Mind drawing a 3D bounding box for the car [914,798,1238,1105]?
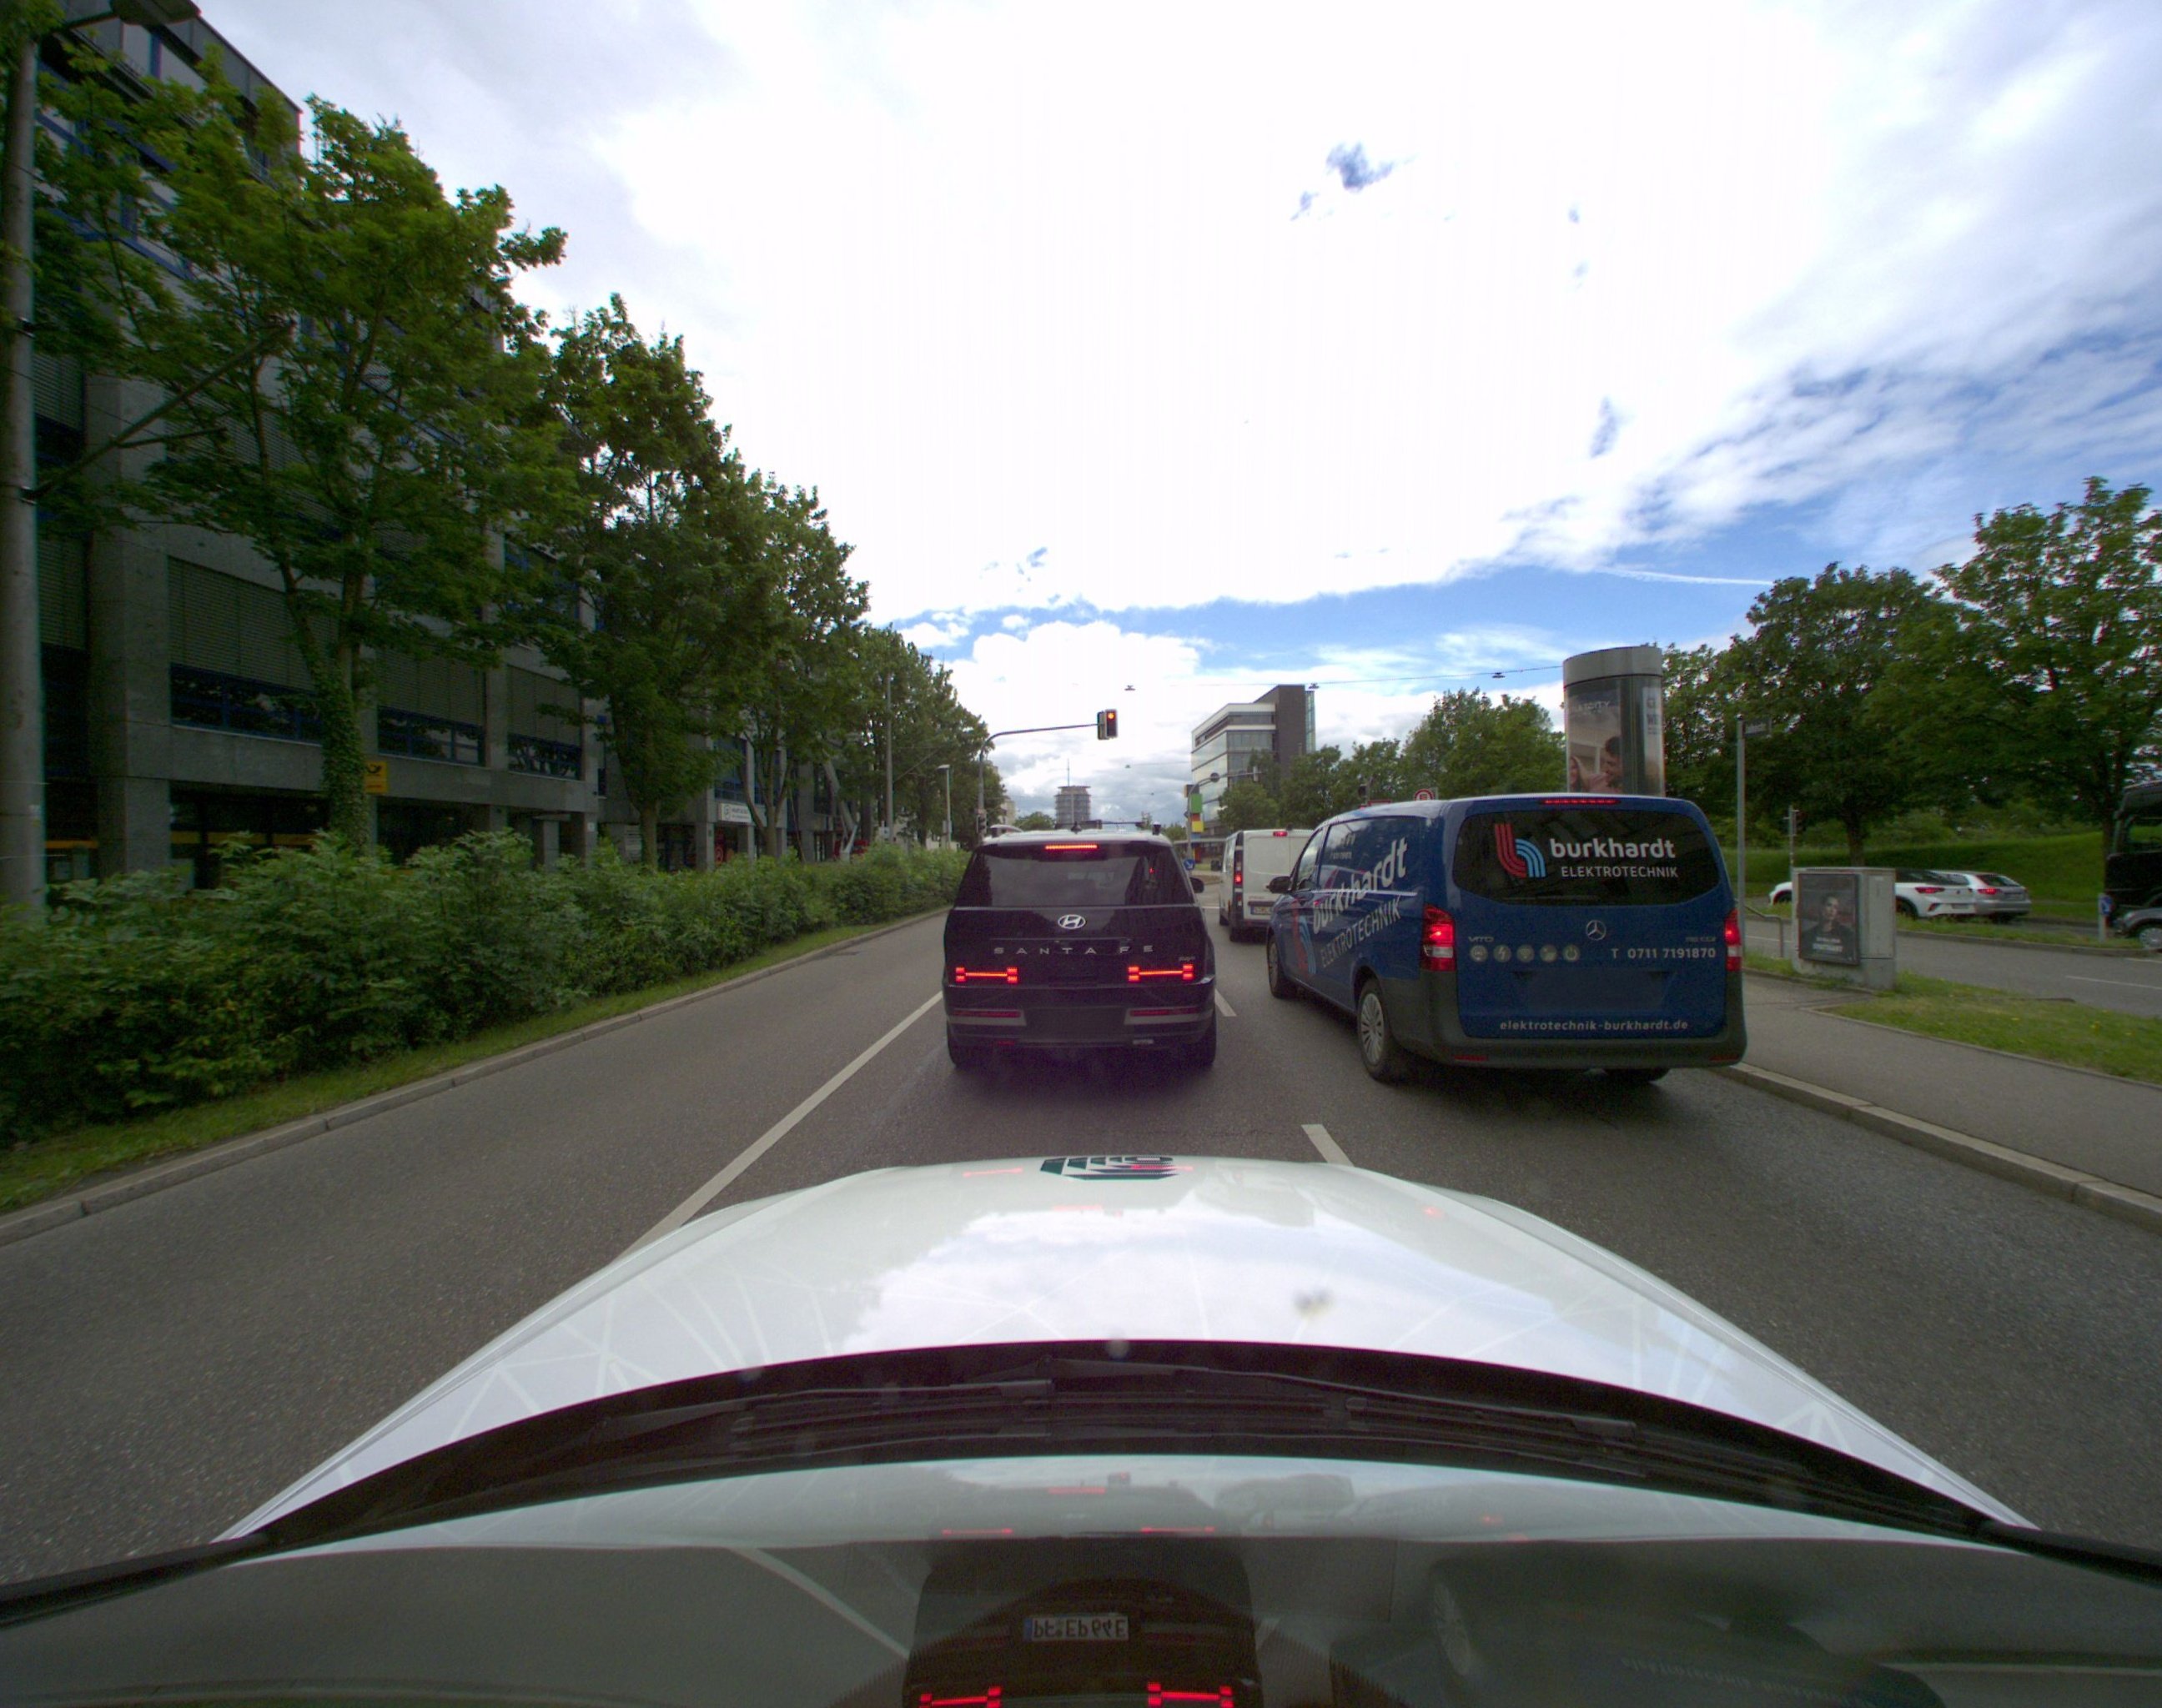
[{"bbox_3d":[0.032,0.575,6.733,1.862,1.760,3.881,-1,0,2],"label":"car"}]

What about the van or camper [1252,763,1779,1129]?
[{"bbox_3d":[2.843,0.496,6.864,1.853,1.911,5.034,-1,0,2],"label":"van or camper"}]

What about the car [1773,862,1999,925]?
[{"bbox_3d":[21.769,1.013,22.275,1.994,1.453,3.985,1,0,-11],"label":"car"}]

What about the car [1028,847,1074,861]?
[{"bbox_3d":[-3.487,0.029,94.783,5.271,1.596,1.997,-1,-1,-4],"label":"car"}]

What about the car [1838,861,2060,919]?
[{"bbox_3d":[25.102,0.994,23.773,1.994,1.453,3.985,1,0,-11],"label":"car"}]

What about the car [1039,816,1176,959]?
[{"bbox_3d":[0.439,0.484,13.591,1.908,2.003,3.881,-1,0,2],"label":"car"}]

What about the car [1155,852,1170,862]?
[{"bbox_3d":[13.169,0.499,131.711,1.987,1.684,3.998,-1,-1,-1],"label":"car"}]

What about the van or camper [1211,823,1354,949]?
[{"bbox_3d":[3.618,0.522,15.497,1.984,2.013,4.660,-1,0,6],"label":"van or camper"}]

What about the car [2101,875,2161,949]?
[{"bbox_3d":[23.008,1.216,15.524,1.994,1.453,3.985,1,0,-11],"label":"car"}]

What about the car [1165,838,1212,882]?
[{"bbox_3d":[5.265,0.306,40.465,1.985,2.014,4.003,-1,-1,3],"label":"car"}]

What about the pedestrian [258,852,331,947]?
[{"bbox_3d":[-16.034,0.913,16.617,0.771,1.894,0.731,-1,-1,1],"label":"pedestrian"}]

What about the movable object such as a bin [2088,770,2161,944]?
[{"bbox_3d":[26.263,0.007,15.505,2.860,3.903,8.536,-1,-1,-11],"label":"movable object such as a bin"}]

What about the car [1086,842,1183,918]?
[{"bbox_3d":[1.463,0.614,20.576,1.764,1.717,4.353,-1,-1,12],"label":"car"}]
